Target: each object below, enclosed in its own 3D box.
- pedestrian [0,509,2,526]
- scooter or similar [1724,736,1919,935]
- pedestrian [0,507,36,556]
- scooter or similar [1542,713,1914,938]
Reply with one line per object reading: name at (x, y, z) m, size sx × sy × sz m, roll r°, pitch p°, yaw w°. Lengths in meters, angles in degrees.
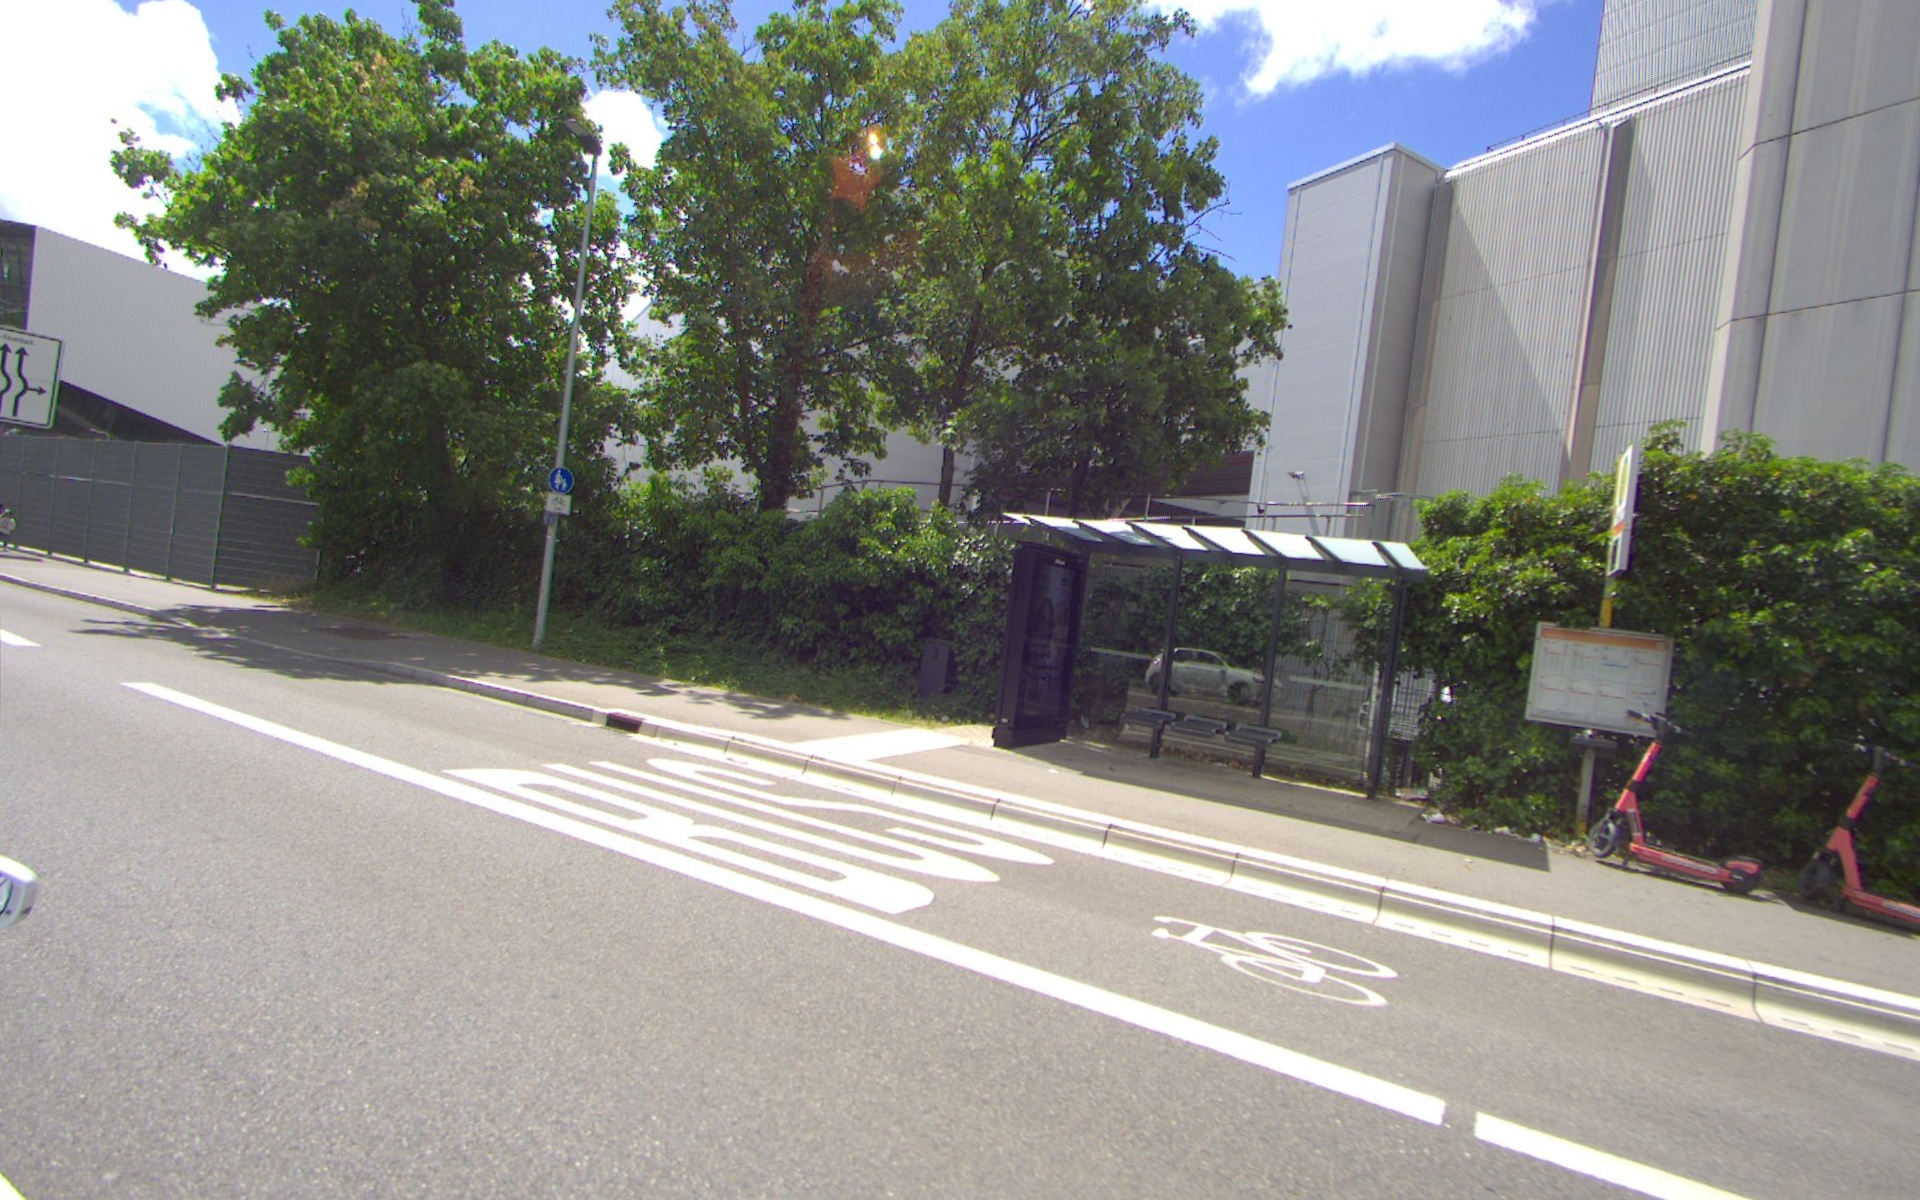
pedestrian at (-25.775, -1.878, 26.318) m, size 0.956 × 1.162 × 0.758 m, roll 6°, pitch -2°, yaw 34°
scooter or similar at (6.727, 1.720, 7.244) m, size 0.537 × 1.177 × 1.777 m, roll 6°, pitch 1°, yaw -31°
pedestrian at (-25.524, -1.853, 27.084) m, size 0.589 × 1.220 × 0.715 m, roll 6°, pitch -2°, yaw 35°
scooter or similar at (5.736, 1.619, 7.697) m, size 0.537 × 1.177 × 2.110 m, roll 6°, pitch 1°, yaw -31°
